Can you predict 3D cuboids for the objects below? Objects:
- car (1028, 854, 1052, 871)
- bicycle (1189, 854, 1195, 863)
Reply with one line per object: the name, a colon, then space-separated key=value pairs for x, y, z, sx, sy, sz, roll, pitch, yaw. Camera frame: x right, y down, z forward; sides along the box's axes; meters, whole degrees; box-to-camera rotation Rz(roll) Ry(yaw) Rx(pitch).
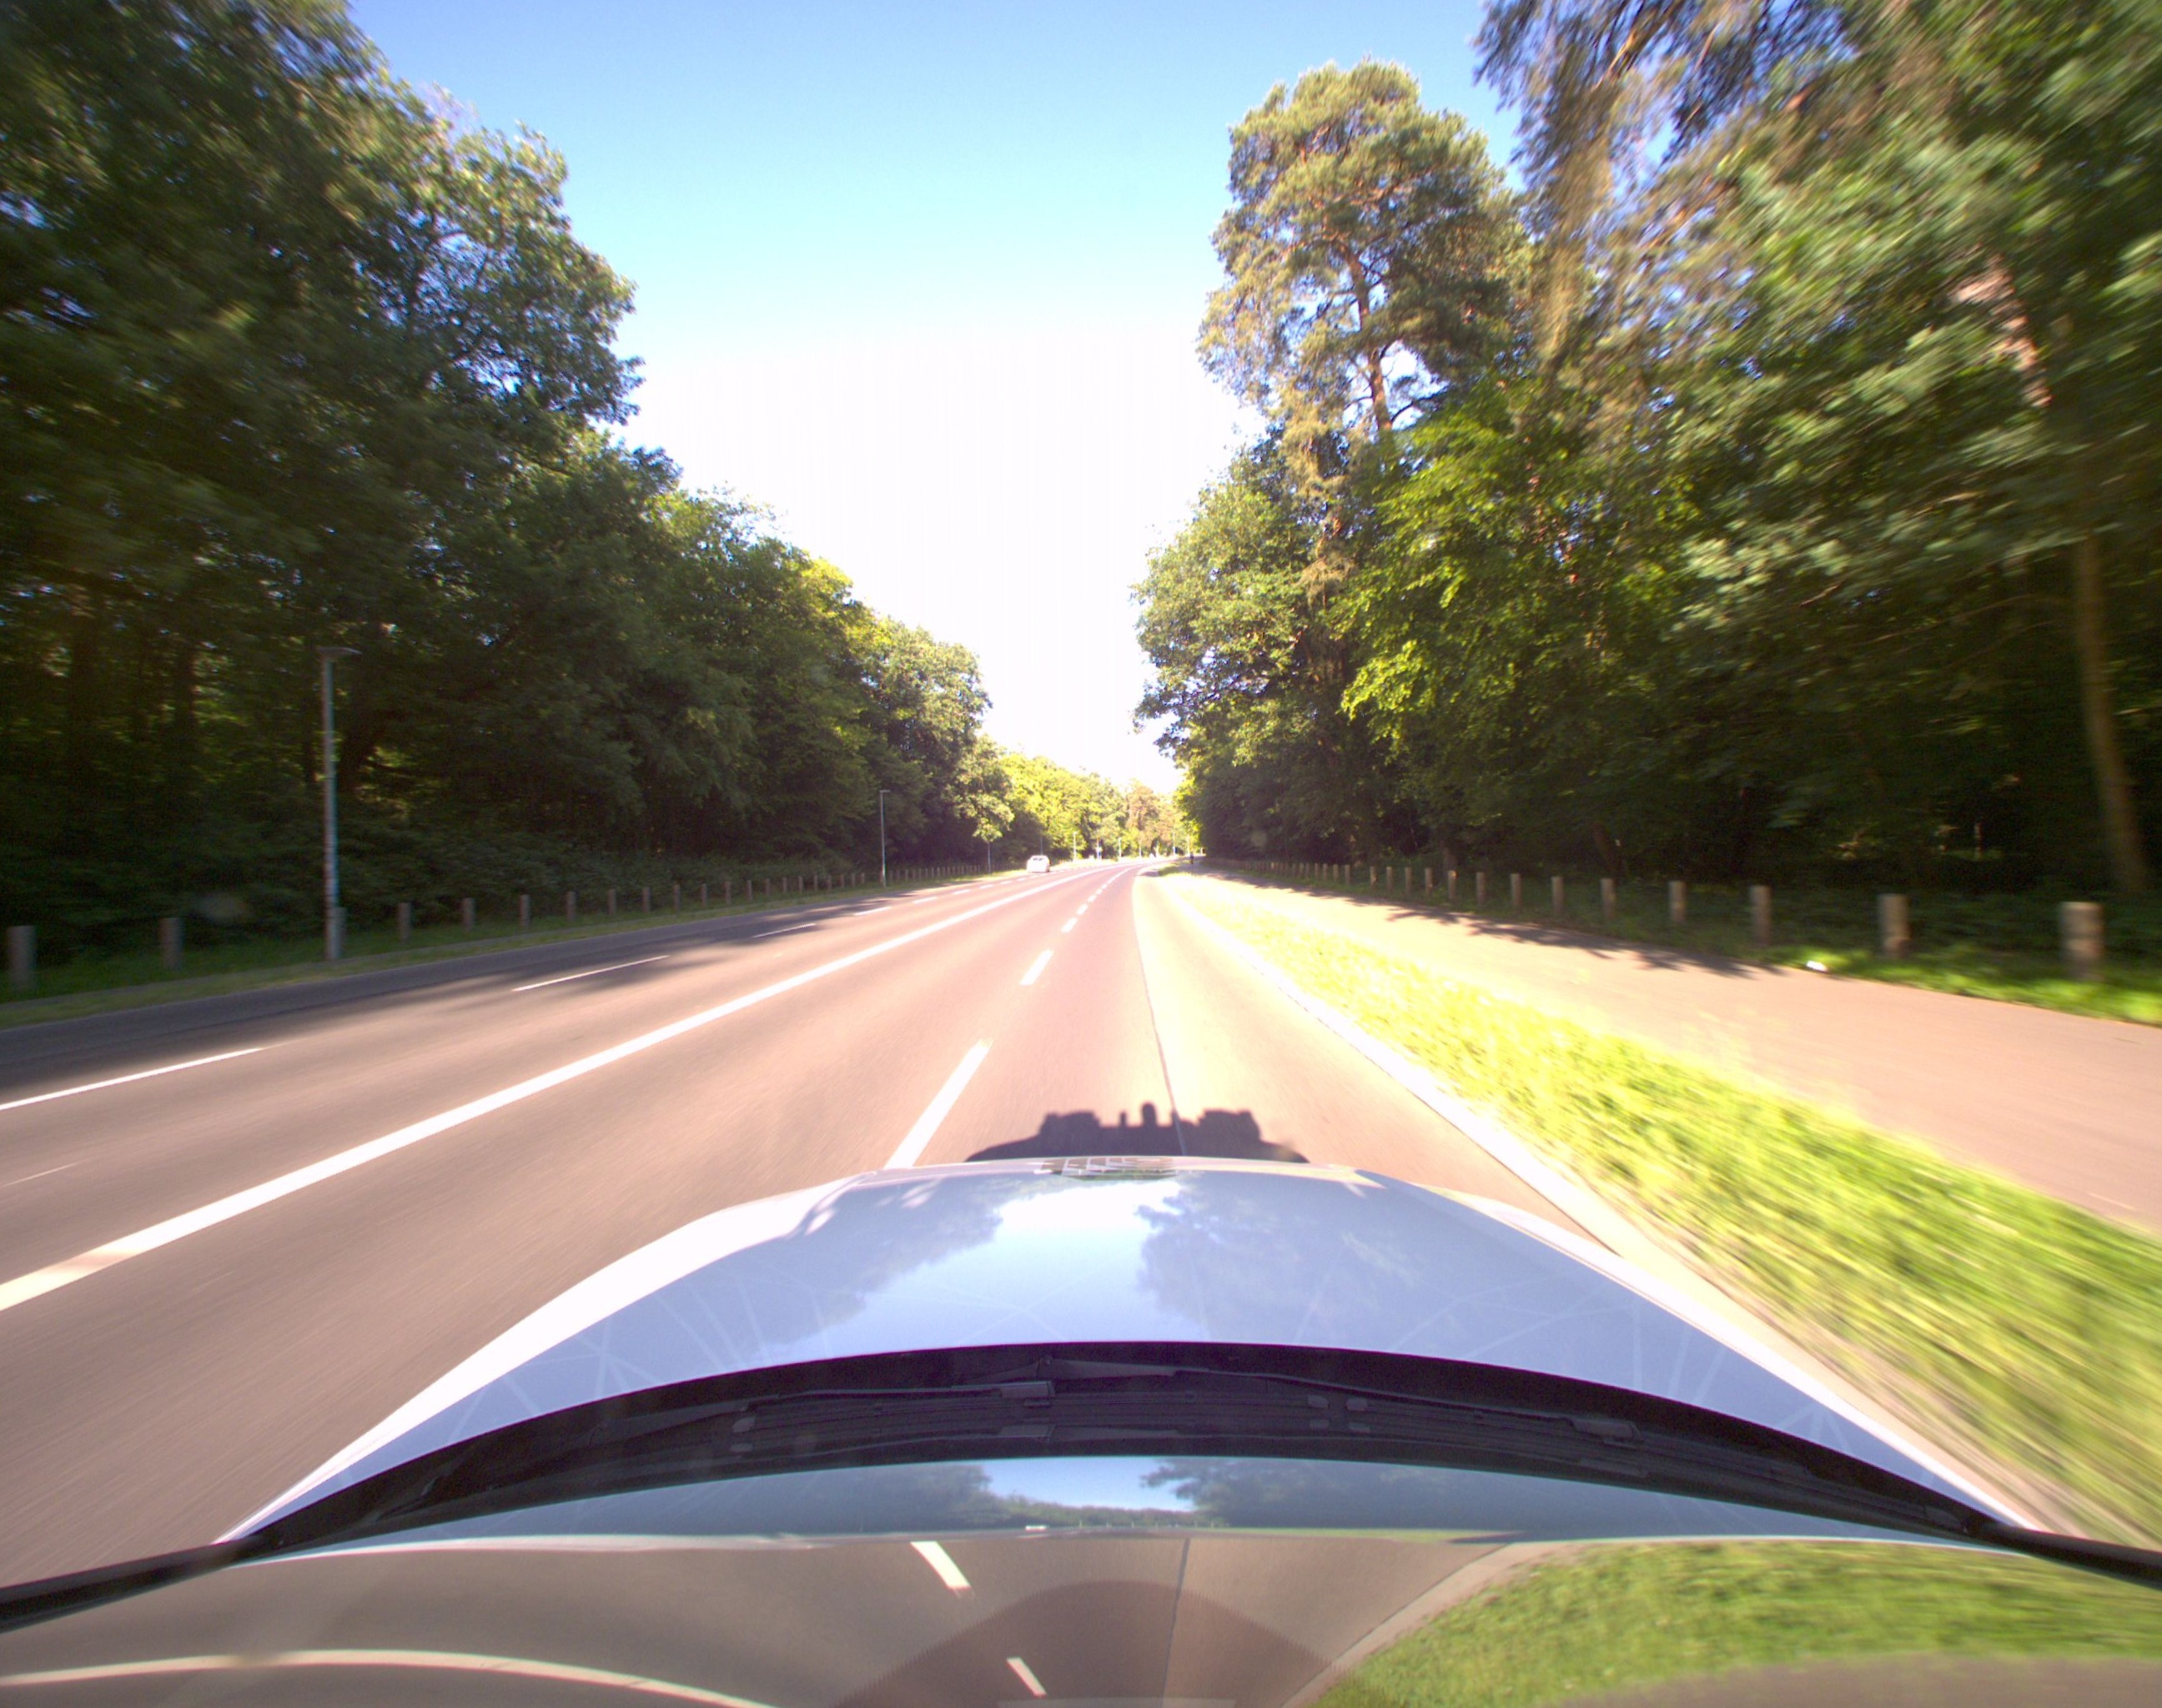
car: x=-3.682 y=0.708 z=73.094 sx=1.580 sy=1.437 sz=4.314 roll=1 pitch=0 yaw=4
bicycle: x=13.709 y=0.564 z=100.407 sx=0.708 sy=1.056 sz=2.057 roll=-1 pitch=0 yaw=7
